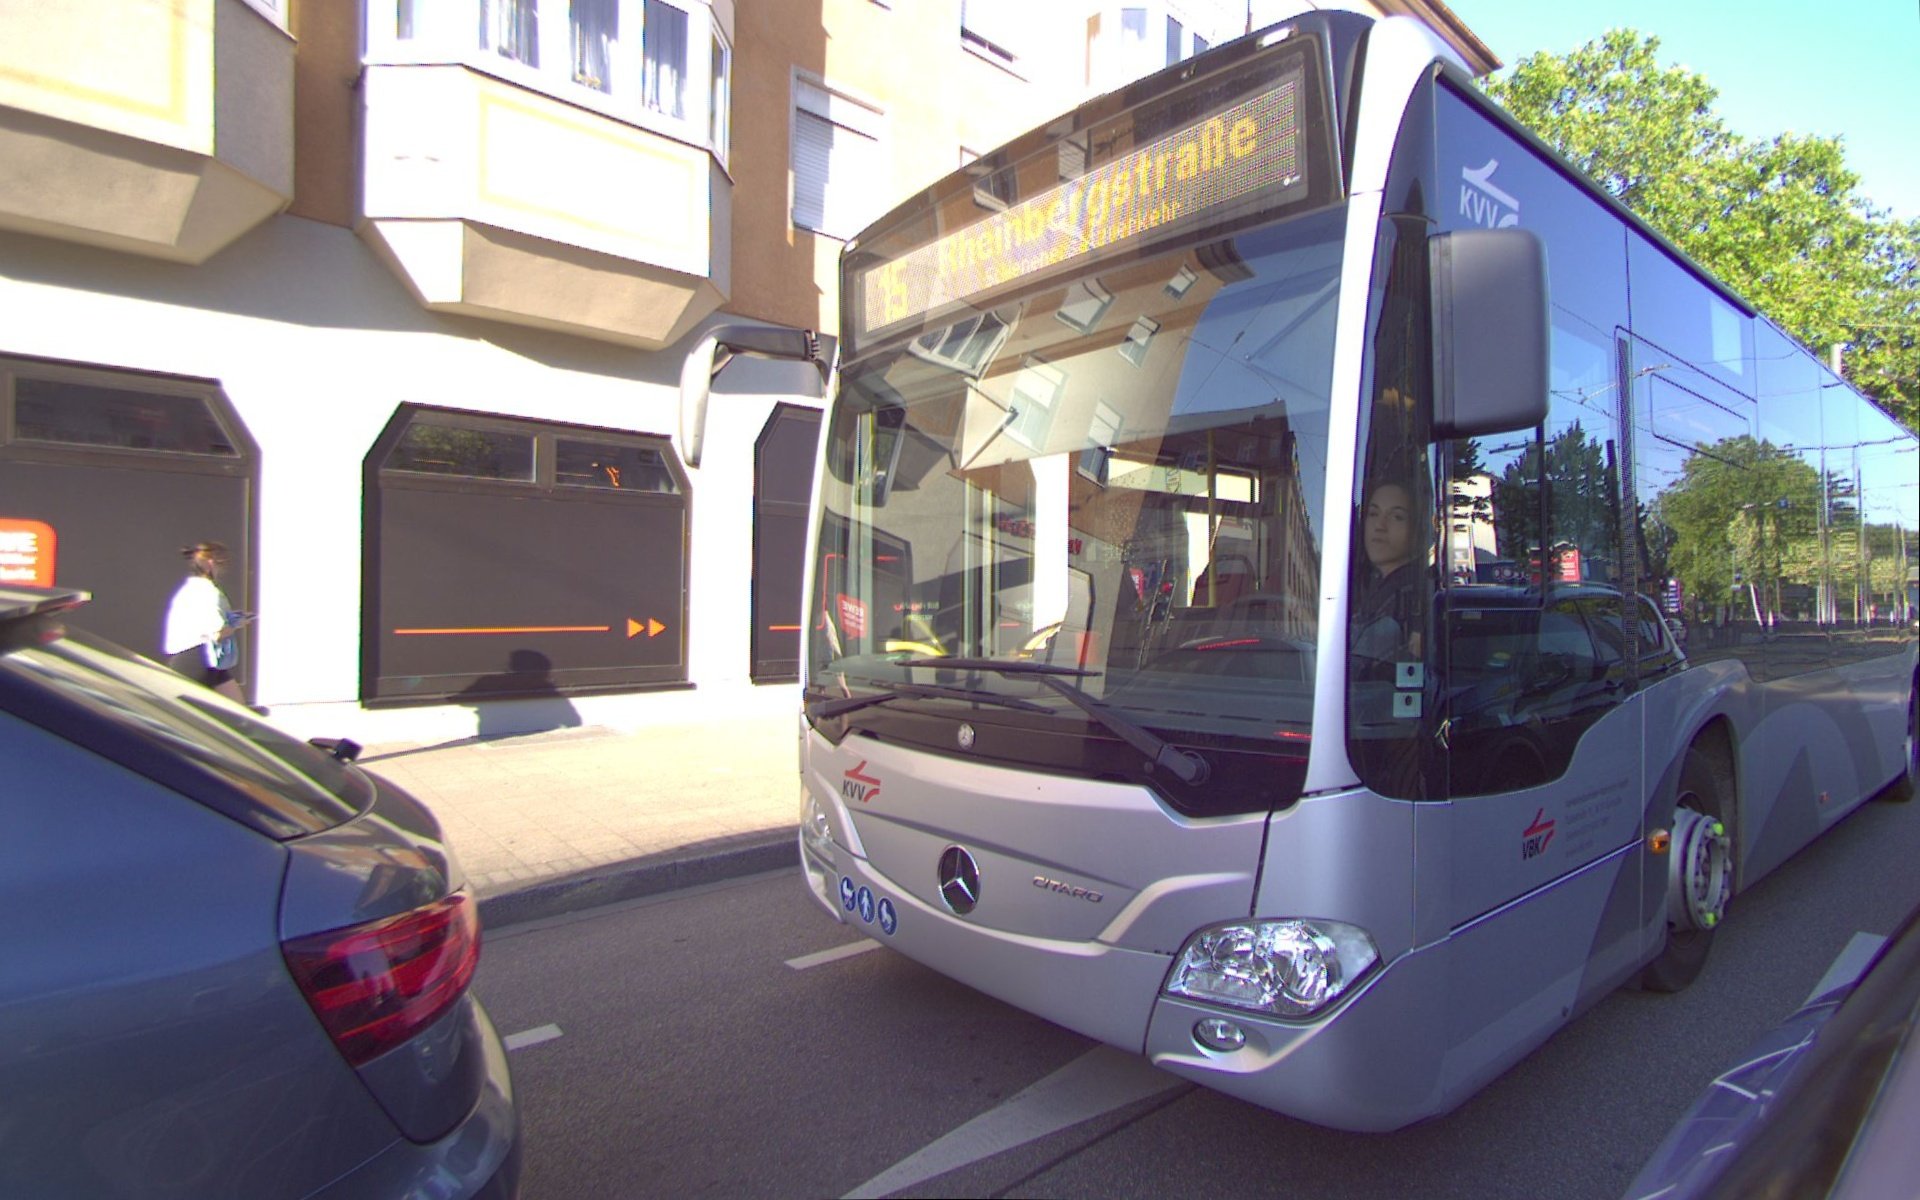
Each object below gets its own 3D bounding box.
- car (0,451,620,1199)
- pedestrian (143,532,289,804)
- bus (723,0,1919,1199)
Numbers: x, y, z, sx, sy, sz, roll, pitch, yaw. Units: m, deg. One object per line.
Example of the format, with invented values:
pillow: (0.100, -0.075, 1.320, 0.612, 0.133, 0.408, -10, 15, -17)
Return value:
car: (-2.574, 0.641, 0.647, 4.151, 1.572, 1.700, 0, -1, -41)
pedestrian: (-4.696, 0.388, 6.389, 0.579, 1.603, 0.657, 2, 1, 45)
bus: (6.516, -0.210, 8.713, 17.432, 3.189, 2.771, 0, 1, -41)
